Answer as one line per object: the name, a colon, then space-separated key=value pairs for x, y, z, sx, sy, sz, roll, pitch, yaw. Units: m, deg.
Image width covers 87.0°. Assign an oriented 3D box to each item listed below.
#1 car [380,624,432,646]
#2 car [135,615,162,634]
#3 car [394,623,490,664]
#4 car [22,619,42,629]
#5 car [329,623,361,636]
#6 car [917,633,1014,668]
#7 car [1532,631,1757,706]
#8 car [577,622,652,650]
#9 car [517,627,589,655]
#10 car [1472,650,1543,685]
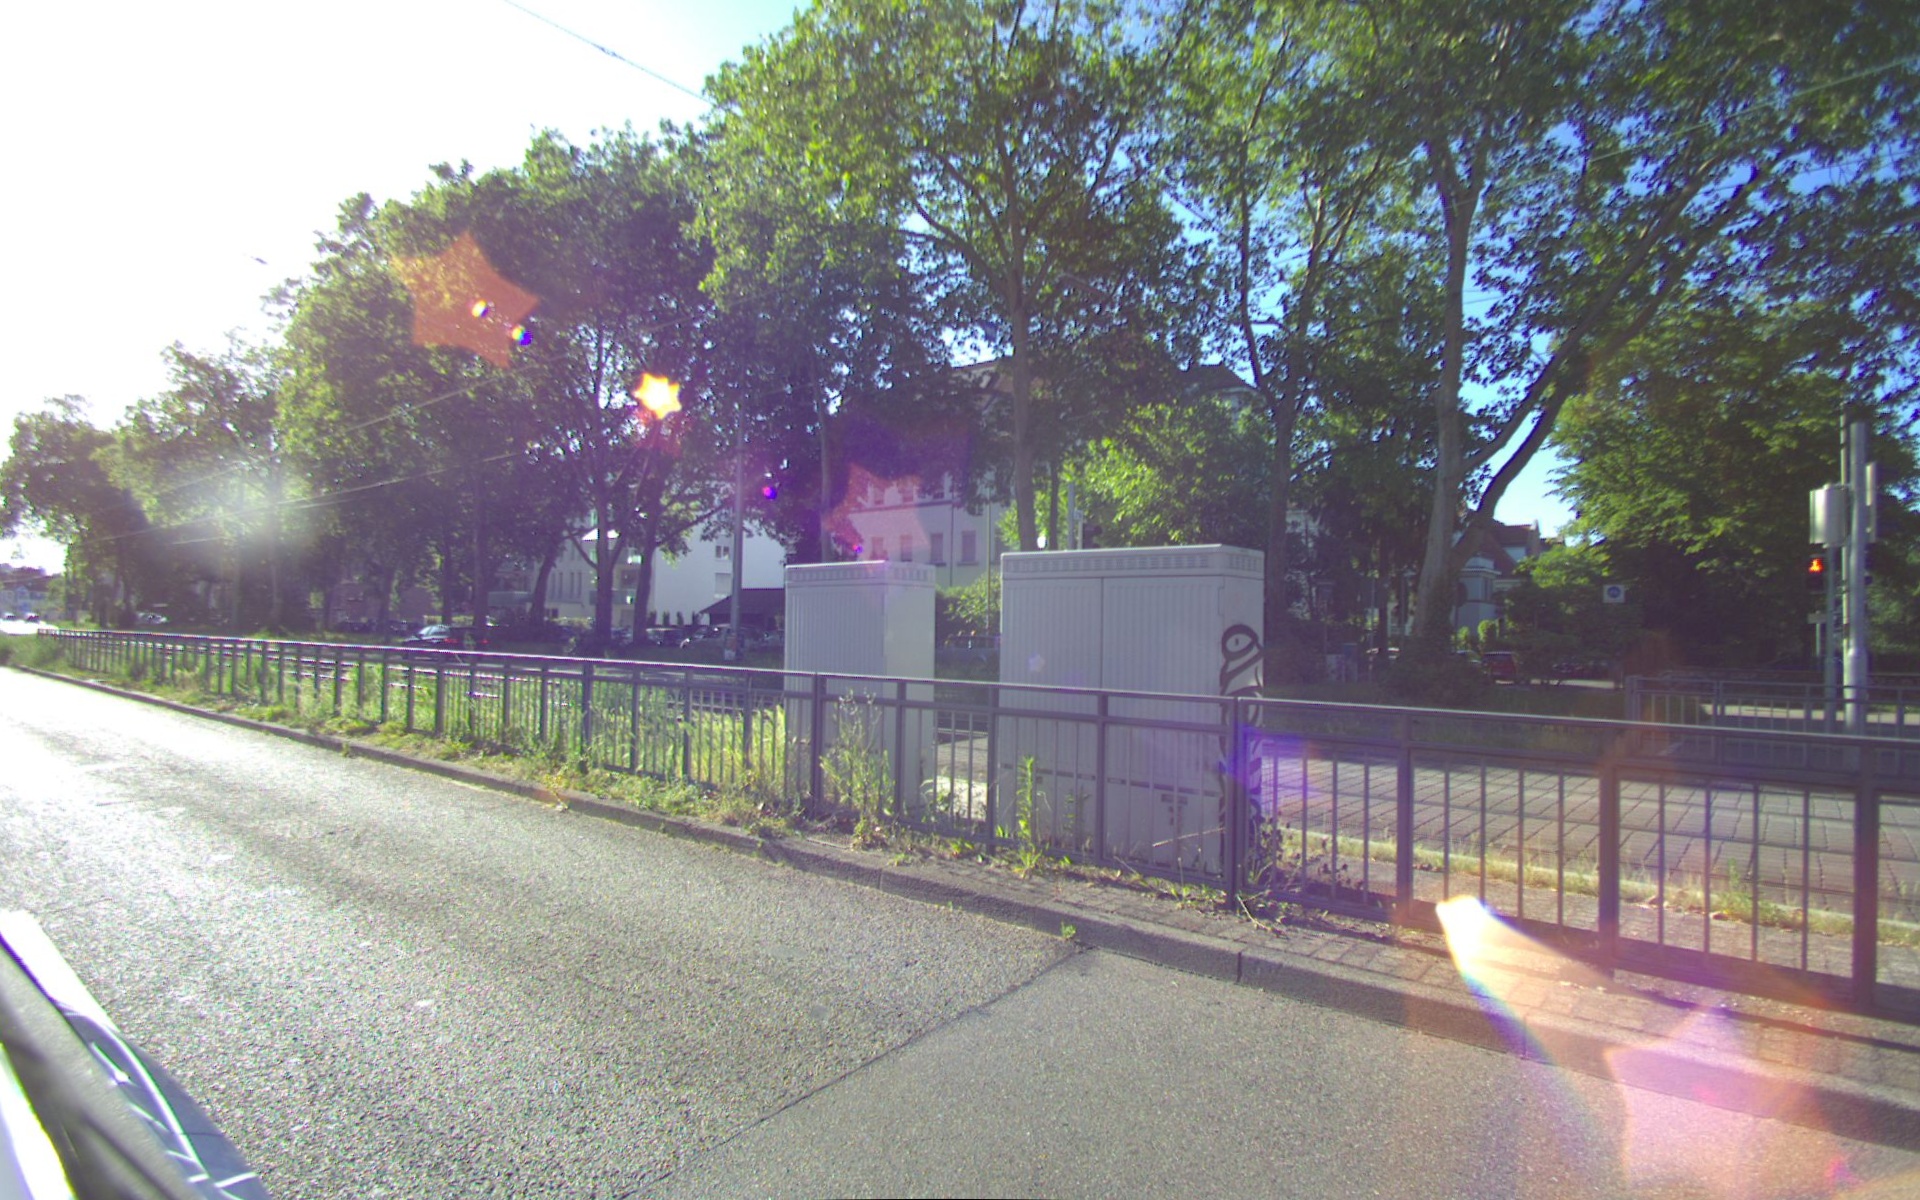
car: x=-37.501 y=2.351 z=68.465 sx=3.998 sy=1.484 sz=1.778 roll=-1 pitch=-2 yaw=41
car: x=-90.099 y=2.725 z=112.333 sx=1.971 sy=2.029 sz=4.002 roll=0 pitch=-1 yaw=-45
car: x=-20.304 y=1.681 z=39.569 sx=4.337 sy=1.510 sz=1.667 roll=-1 pitch=-2 yaw=38
car: x=-153.592 y=3.989 z=167.437 sx=4.456 sy=1.660 sz=1.839 roll=-1 pitch=-2 yaw=39
car: x=-45.309 y=2.173 z=74.566 sx=3.058 sy=0.883 sz=1.094 roll=-1 pitch=-3 yaw=41
car: x=0.181 y=1.769 z=35.944 sx=3.213 sy=1.125 sz=1.458 roll=-1 pitch=-2 yaw=38
car: x=15.565 y=1.498 z=23.136 sx=4.141 sy=1.521 sz=1.652 roll=-1 pitch=-2 yaw=40
car: x=-17.774 y=1.834 z=51.991 sx=4.459 sy=1.334 sz=1.623 roll=-1 pitch=-4 yaw=42
car: x=-22.748 y=2.265 z=56.517 sx=4.317 sy=1.464 sz=1.972 roll=-1 pitch=-2 yaw=41
car: x=24.637 y=2.998 z=45.514 sx=1.999 sy=1.429 sz=3.945 roll=-1 pitch=-2 yaw=41
